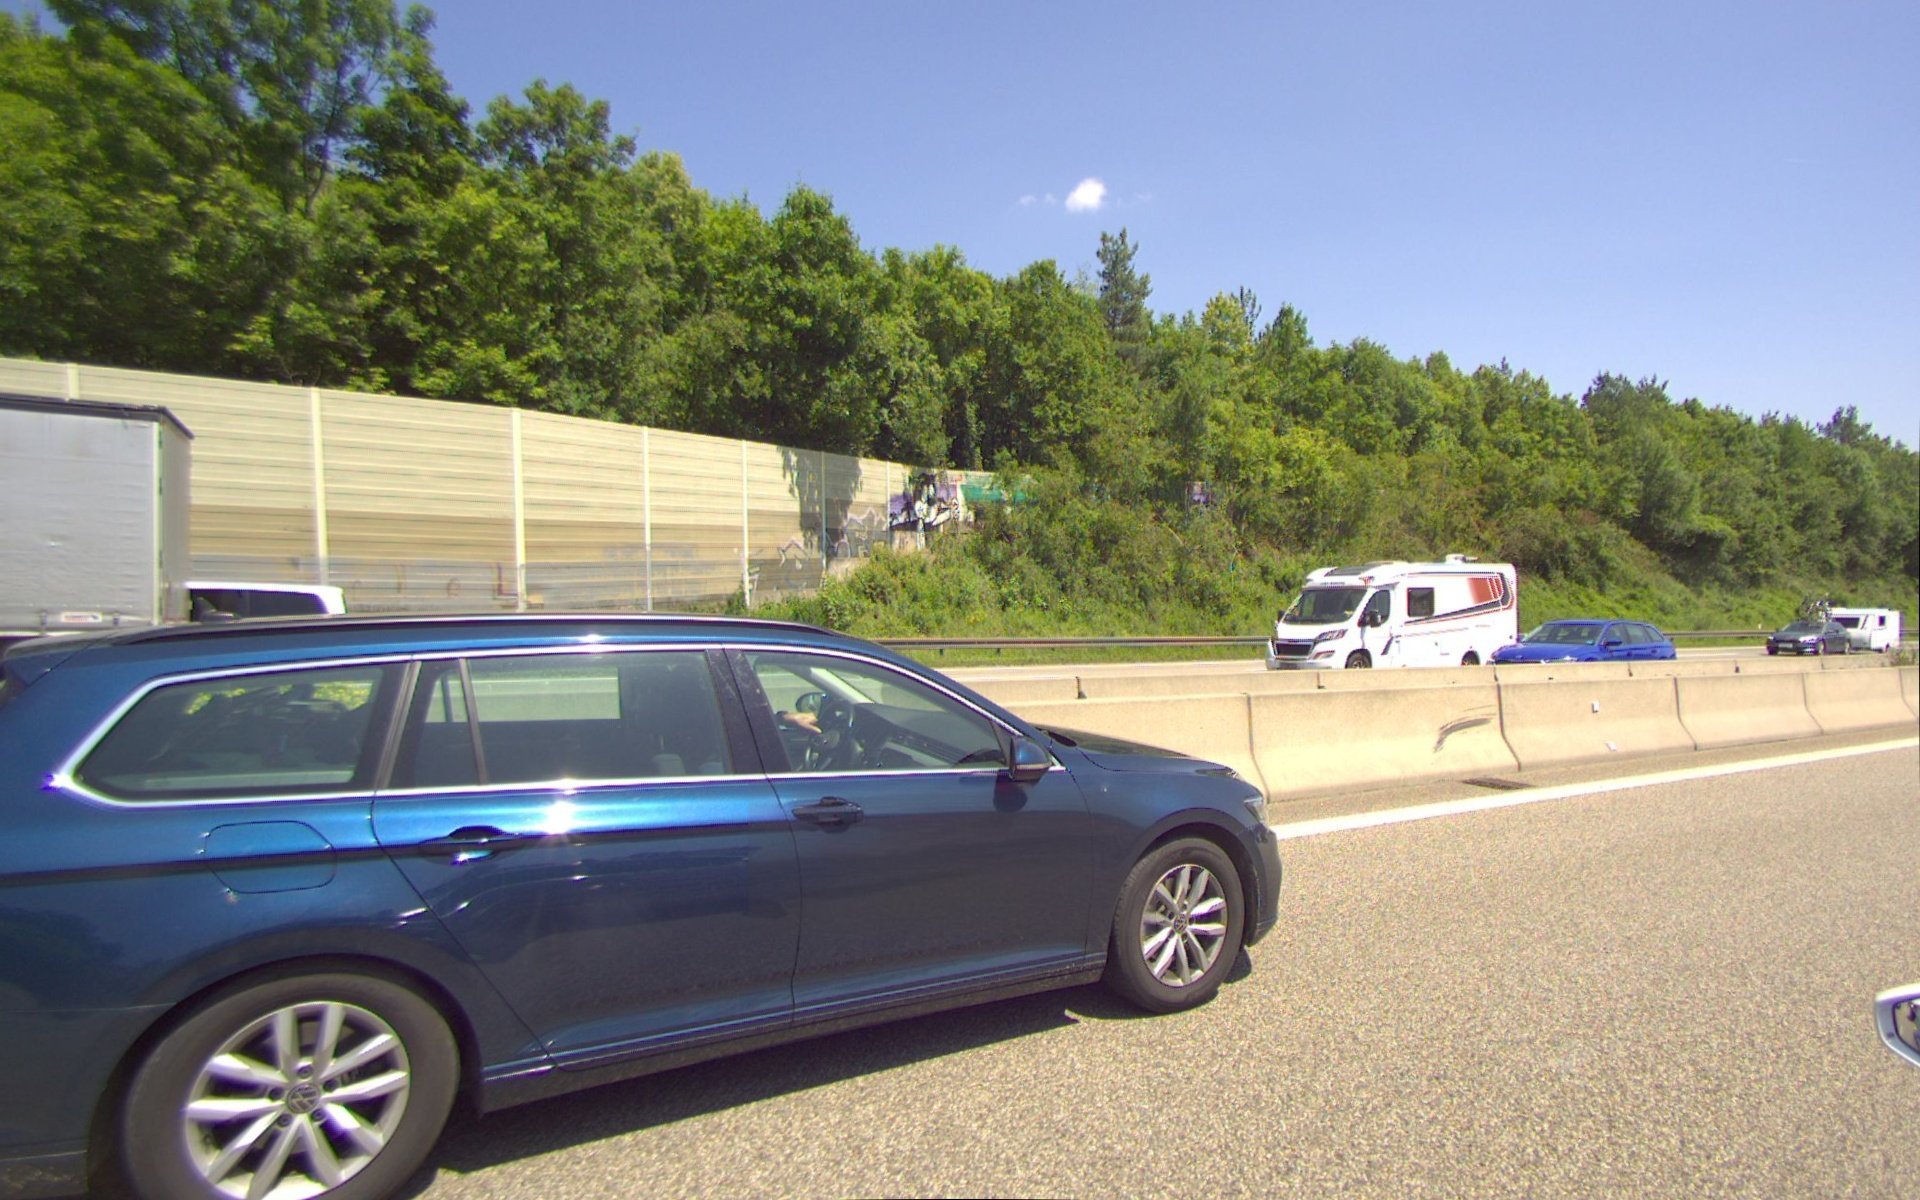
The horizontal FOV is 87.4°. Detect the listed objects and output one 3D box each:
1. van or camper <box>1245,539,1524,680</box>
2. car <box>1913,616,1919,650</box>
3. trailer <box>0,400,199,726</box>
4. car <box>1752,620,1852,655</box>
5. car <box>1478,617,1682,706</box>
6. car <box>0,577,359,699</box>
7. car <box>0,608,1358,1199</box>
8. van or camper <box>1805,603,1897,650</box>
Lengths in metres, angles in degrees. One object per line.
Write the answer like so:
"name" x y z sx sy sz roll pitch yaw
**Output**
"van or camper" 9.612 0.288 22.484 6.728 2.772 2.258 2 -1 -31
"car" 49.364 1.666 49.720 4.870 1.661 1.916 1 0 -31
"trailer" -16.832 -0.577 10.619 13.671 3.960 2.798 2 -1 -32
"car" 35.482 1.558 42.280 4.668 1.365 1.792 1 0 -31
"car" 12.042 1.127 19.451 4.081 1.558 1.702 1 -1 -31
"car" -13.109 0.611 16.922 5.046 1.834 1.801 1 -1 -30
"car" -0.840 0.782 3.597 4.675 1.446 1.724 1 0 -31
"van or camper" 39.877 1.171 44.963 3.661 2.003 2.066 1 -1 -30
